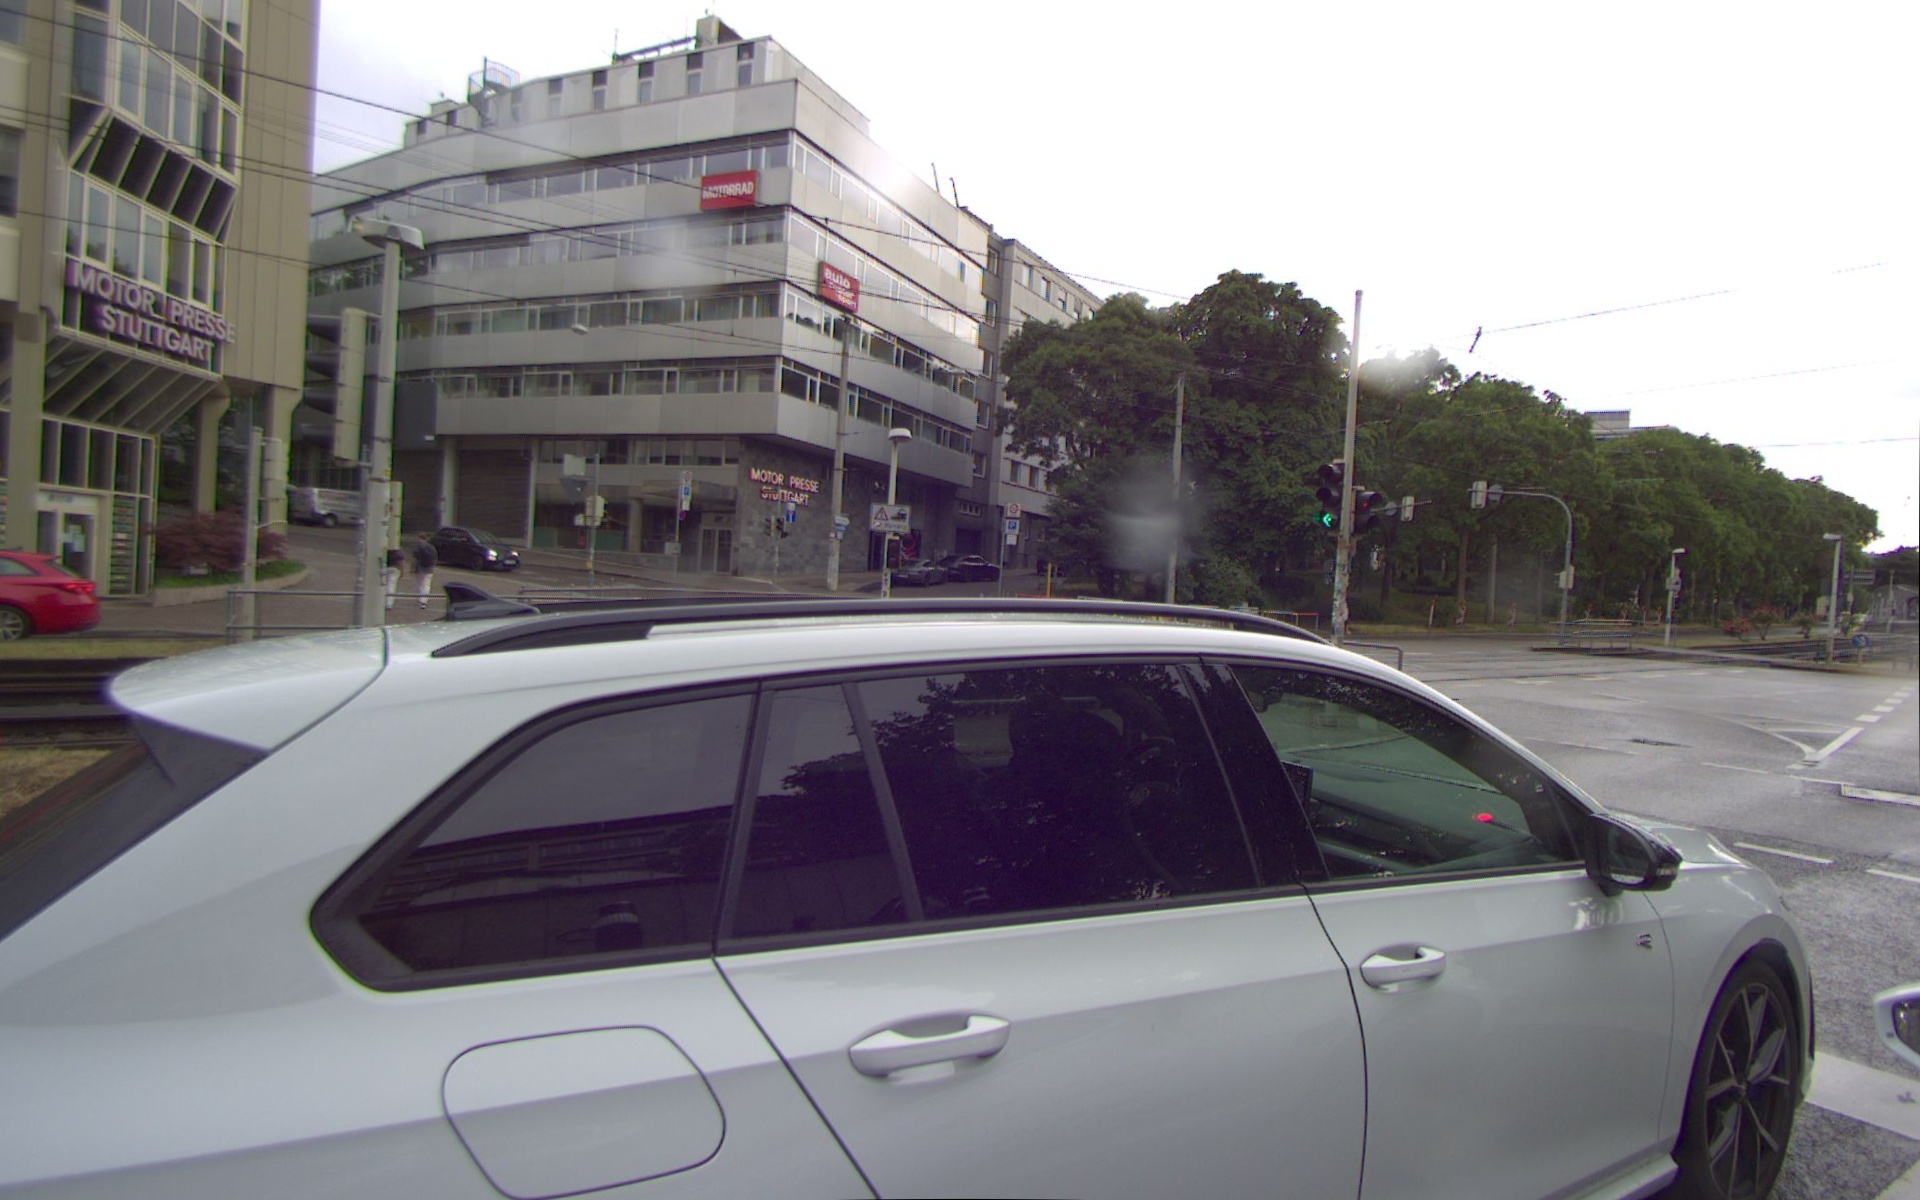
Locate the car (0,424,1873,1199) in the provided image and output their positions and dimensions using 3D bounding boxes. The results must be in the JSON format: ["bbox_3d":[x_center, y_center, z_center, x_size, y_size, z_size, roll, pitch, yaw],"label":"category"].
[{"bbox_3d":[0.108,0.675,2.256,4.203,1.597,1.670,2,1,-31],"label":"car"}]

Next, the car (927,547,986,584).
[{"bbox_3d":[-0.166,-1.957,55.620,1.961,1.818,3.998,5,5,19],"label":"car"}]

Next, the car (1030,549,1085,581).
[{"bbox_3d":[6.429,-2.303,65.904,1.964,1.818,4.202,5,2,30],"label":"car"}]

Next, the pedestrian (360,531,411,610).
[{"bbox_3d":[-13.770,-0.699,24.062,0.630,1.811,0.808,6,3,36],"label":"pedestrian"}]

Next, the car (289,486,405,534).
[{"bbox_3d":[-32.095,-4.682,52.720,1.963,2.040,4.831,5,2,26],"label":"car"}]

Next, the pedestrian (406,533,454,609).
[{"bbox_3d":[-13.160,-0.714,24.947,0.630,1.811,0.808,6,3,36],"label":"pedestrian"}]

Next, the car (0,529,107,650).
[{"bbox_3d":[-14.753,-0.229,13.941,4.384,1.662,1.962,2,2,-42],"label":"car"}]

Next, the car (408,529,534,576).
[{"bbox_3d":[-18.051,-1.754,37.147,3.920,1.383,1.830,5,2,16],"label":"car"}]

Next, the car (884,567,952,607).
[{"bbox_3d":[-2.070,-0.647,50.759,1.961,1.818,4.000,5,2,19],"label":"car"}]
